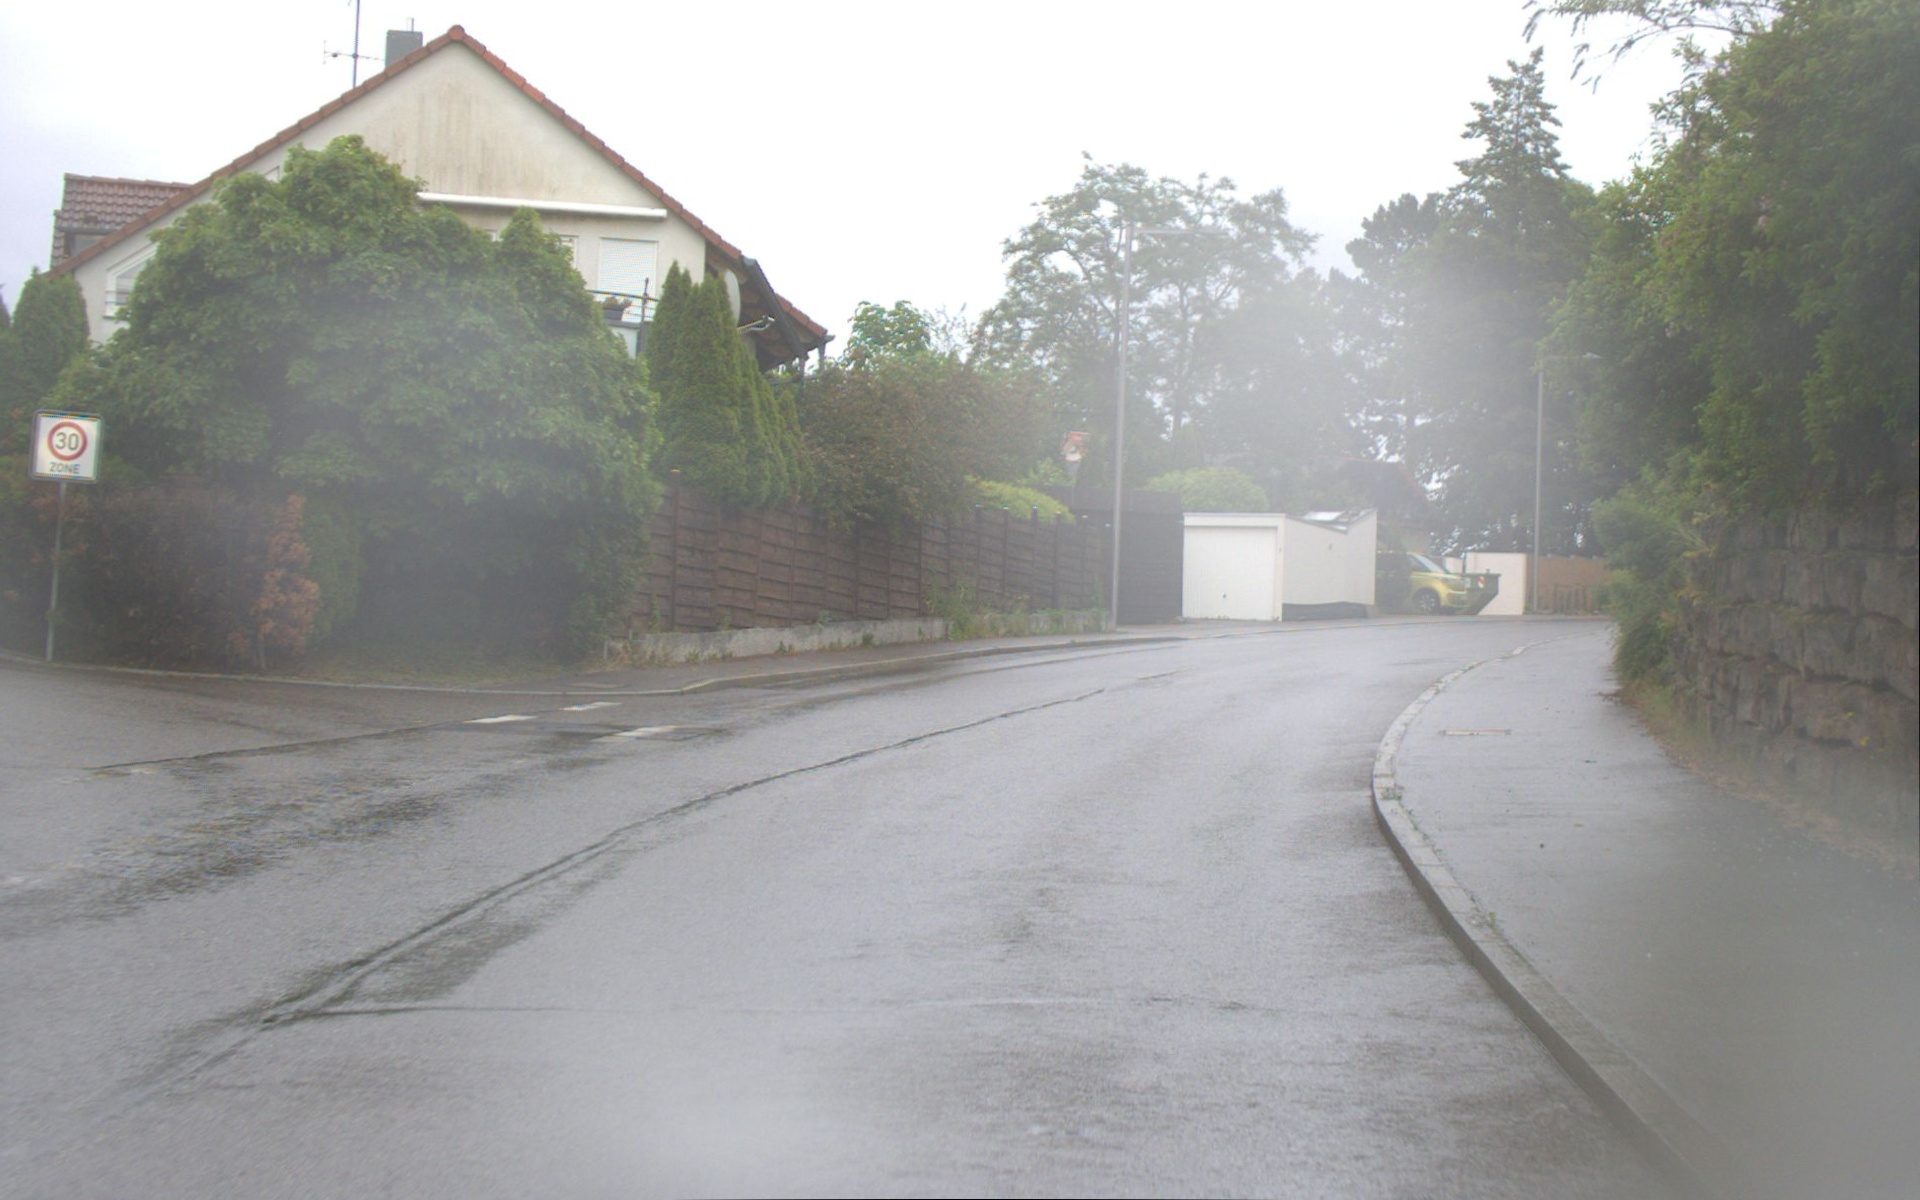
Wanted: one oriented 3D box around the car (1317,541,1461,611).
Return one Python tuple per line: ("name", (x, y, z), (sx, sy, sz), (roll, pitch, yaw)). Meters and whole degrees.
("car", (12.570, -0.699, 100.683), (3.838, 1.901, 1.534), (2, 1, 26))
